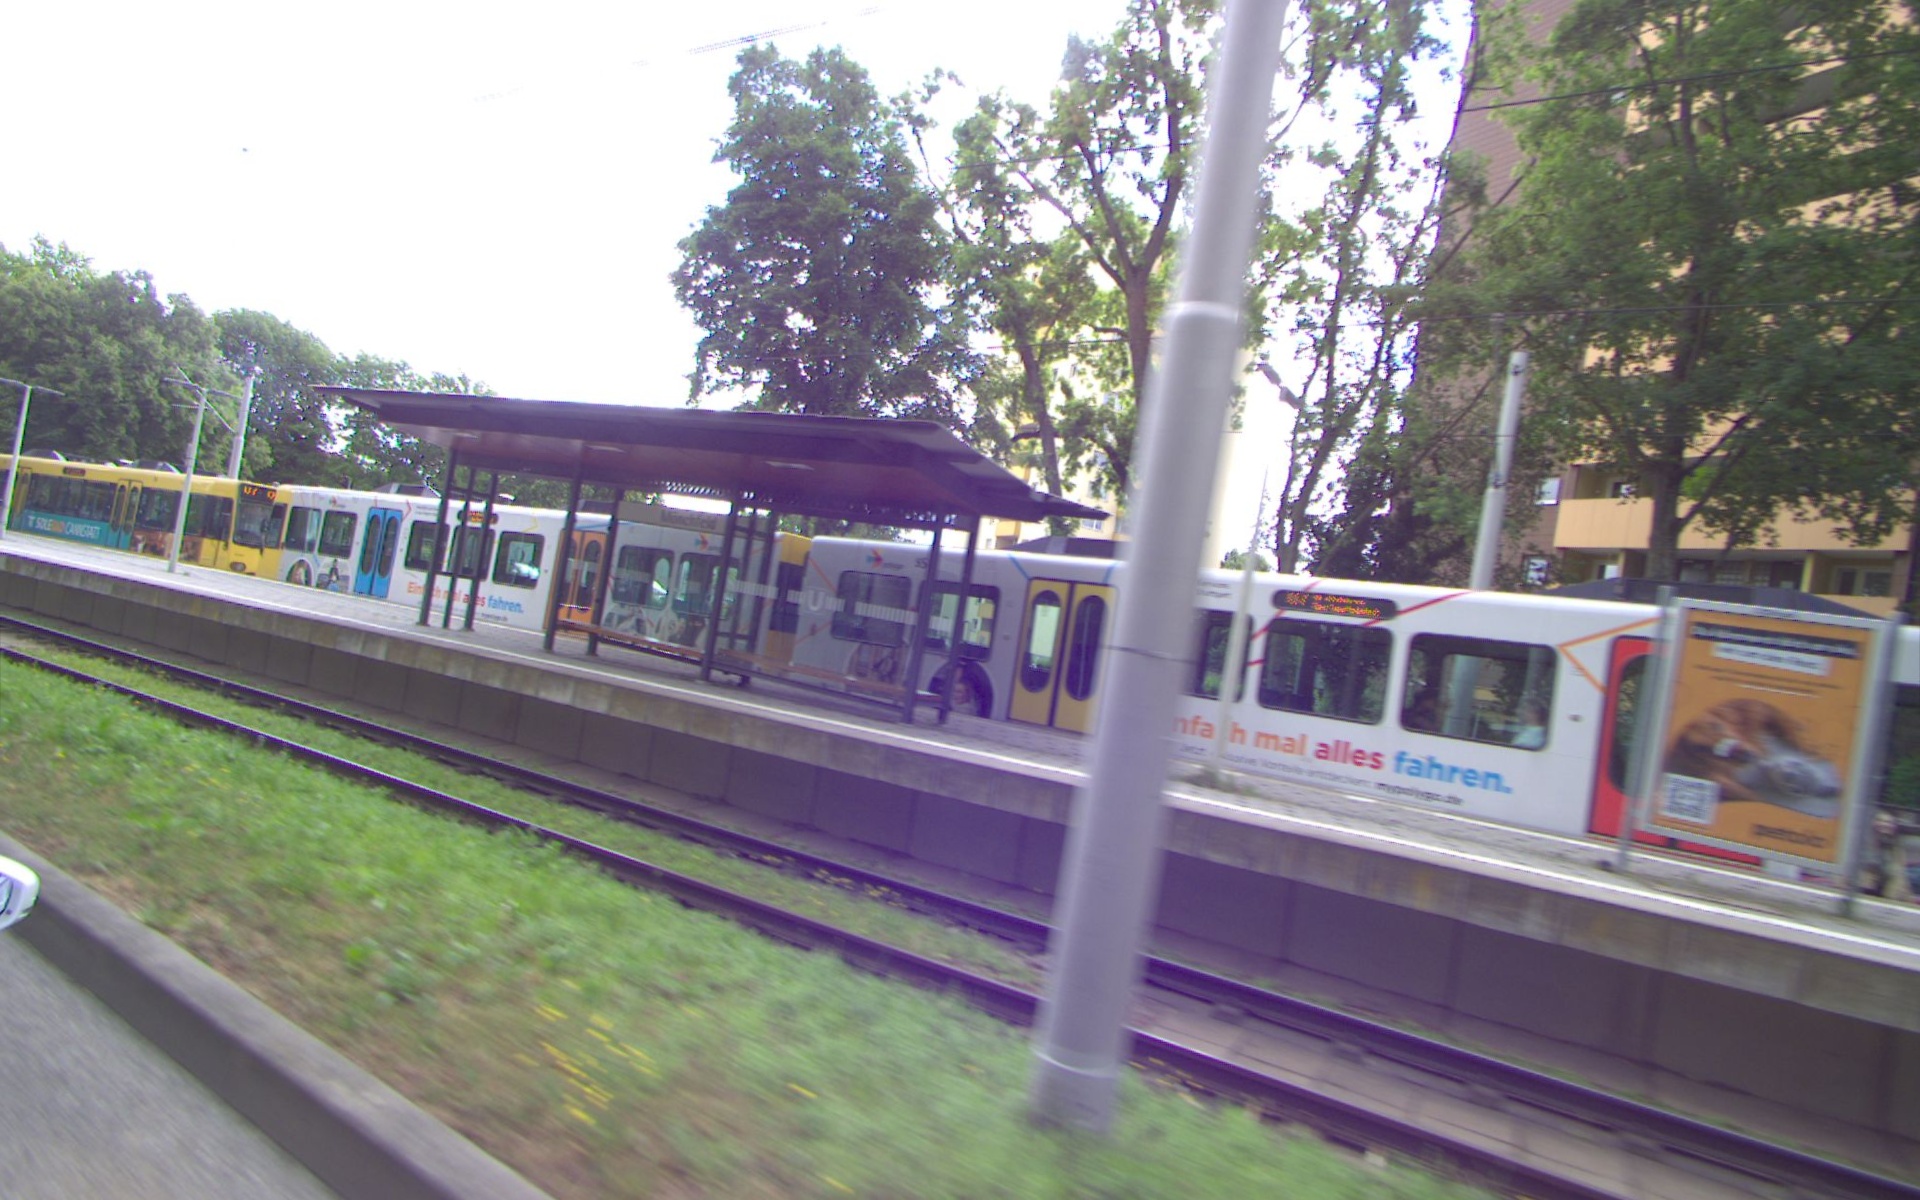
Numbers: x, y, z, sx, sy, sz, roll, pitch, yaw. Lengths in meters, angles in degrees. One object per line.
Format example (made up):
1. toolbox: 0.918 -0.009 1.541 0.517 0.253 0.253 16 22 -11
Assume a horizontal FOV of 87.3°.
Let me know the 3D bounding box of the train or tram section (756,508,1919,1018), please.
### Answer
1. train or tram section: 5.037 1.420 13.040 18.236 3.777 2.819 7 -3 35

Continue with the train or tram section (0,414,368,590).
1. train or tram section: -26.471 -3.474 32.253 19.172 3.777 2.824 8 -3 28

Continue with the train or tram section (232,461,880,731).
1. train or tram section: -10.424 -0.588 23.087 18.616 3.840 2.821 7 -3 31

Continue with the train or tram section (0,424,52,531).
1. train or tram section: -43.505 -5.712 41.023 19.172 3.627 2.824 8 -3 28
